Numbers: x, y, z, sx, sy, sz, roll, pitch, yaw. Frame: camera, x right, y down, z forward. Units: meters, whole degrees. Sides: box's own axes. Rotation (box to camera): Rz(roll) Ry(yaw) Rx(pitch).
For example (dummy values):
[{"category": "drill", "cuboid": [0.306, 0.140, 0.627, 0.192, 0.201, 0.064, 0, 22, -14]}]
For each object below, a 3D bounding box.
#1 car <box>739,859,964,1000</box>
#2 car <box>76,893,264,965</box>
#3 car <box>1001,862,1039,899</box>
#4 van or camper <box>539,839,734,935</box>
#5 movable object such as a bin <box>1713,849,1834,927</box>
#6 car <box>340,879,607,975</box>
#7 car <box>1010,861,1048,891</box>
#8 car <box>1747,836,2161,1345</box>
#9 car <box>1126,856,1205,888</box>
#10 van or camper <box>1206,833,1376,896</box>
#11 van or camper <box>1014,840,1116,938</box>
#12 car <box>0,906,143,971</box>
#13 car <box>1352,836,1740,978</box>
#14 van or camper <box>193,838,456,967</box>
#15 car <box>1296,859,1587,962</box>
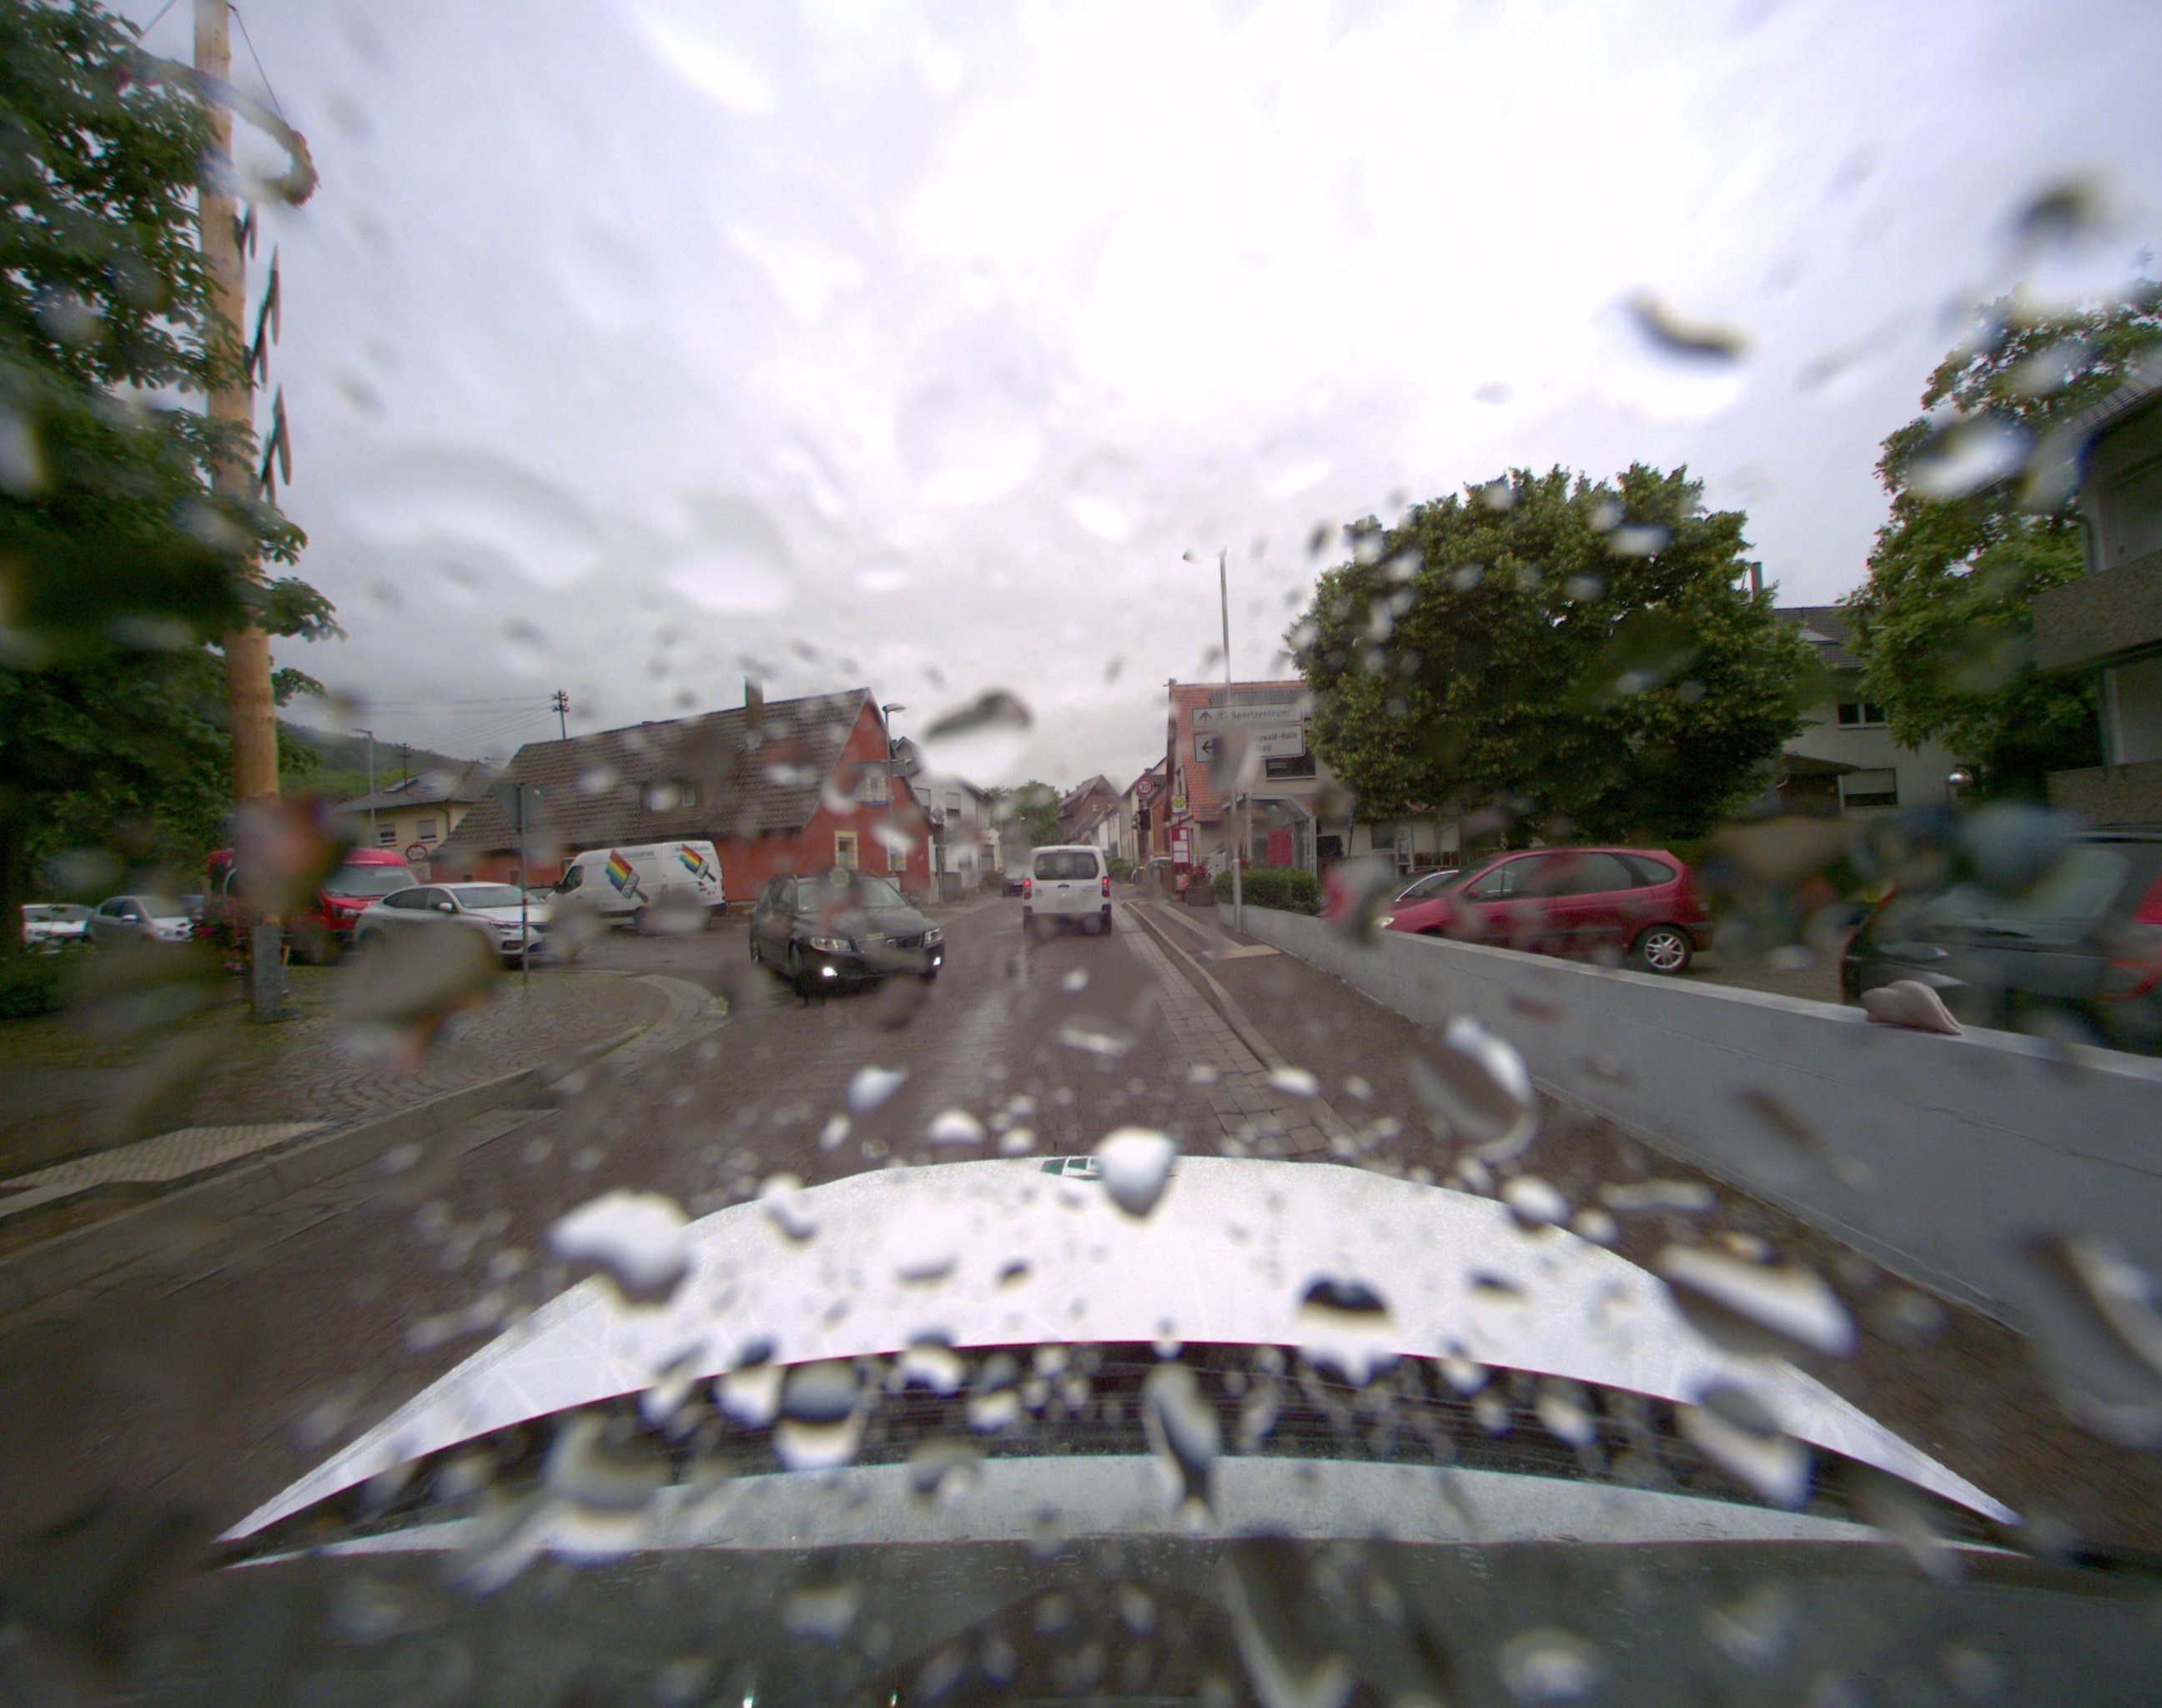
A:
[{"category": "car", "cuboid": [-3.407, 0.918, 11.446, 1.857, 1.477, 4.270, -4, 0, -32]}, {"category": "car", "cuboid": [-22.194, 1.823, 19.851, 3.767, 1.550, 1.810, -3, -2, 21]}, {"category": "car", "cuboid": [-3.186, 1.350, 43.188, 1.807, 1.779, 4.015, -1, 0, -2]}, {"category": "van or camper", "cuboid": [-12.761, 0.957, 23.371, 5.095, 2.435, 2.224, -3, 0, 25]}, {"category": "movable object such as a bin", "cuboid": [12.782, 0.611, 15.076, 1.237, 1.357, 1.155, -2, -1, 1]}, {"category": "car", "cuboid": [-11.380, 1.298, 15.276, 4.408, 1.550, 1.892, -1, 0, 20]}, {"category": "car", "cuboid": [-3.114, 1.331, 49.489, 1.742, 1.636, 4.419, -5, -2, 1]}, {"category": "car", "cuboid": [5.222, 0.633, 2.780, 4.197, 1.480, 1.702, -3, -1, 15]}, {"category": "car", "cuboid": [4.567, 0.949, 44.543, 1.884, 1.590, 4.572, -1, 1, -32]}, {"category": "van or camper", "cuboid": [6.827, 0.330, 26.767, 5.058, 1.923, 1.873, -1, -1, -4]}, {"category": "van or camper", "cuboid": [-0.312, 0.677, 17.762, 1.937, 1.851, 3.999, -1, 0, 0]}, {"category": "car", "cuboid": [-27.502, 2.266, 21.957, 3.765, 1.550, 1.810, -3, -2, 23]}, {"category": "car", "cuboid": [5.795, 0.677, 10.736, 4.039, 1.589, 1.864, -3, -1, 14]}, {"category": "van or camper", "cuboid": [-16.655, 1.066, 17.885, 5.805, 2.474, 2.167, -3, -2, 25]}, {"category": "car", "cuboid": [5.641, 0.873, 13.192, 3.930, 1.378, 1.755, -3, -1, 7]}]
